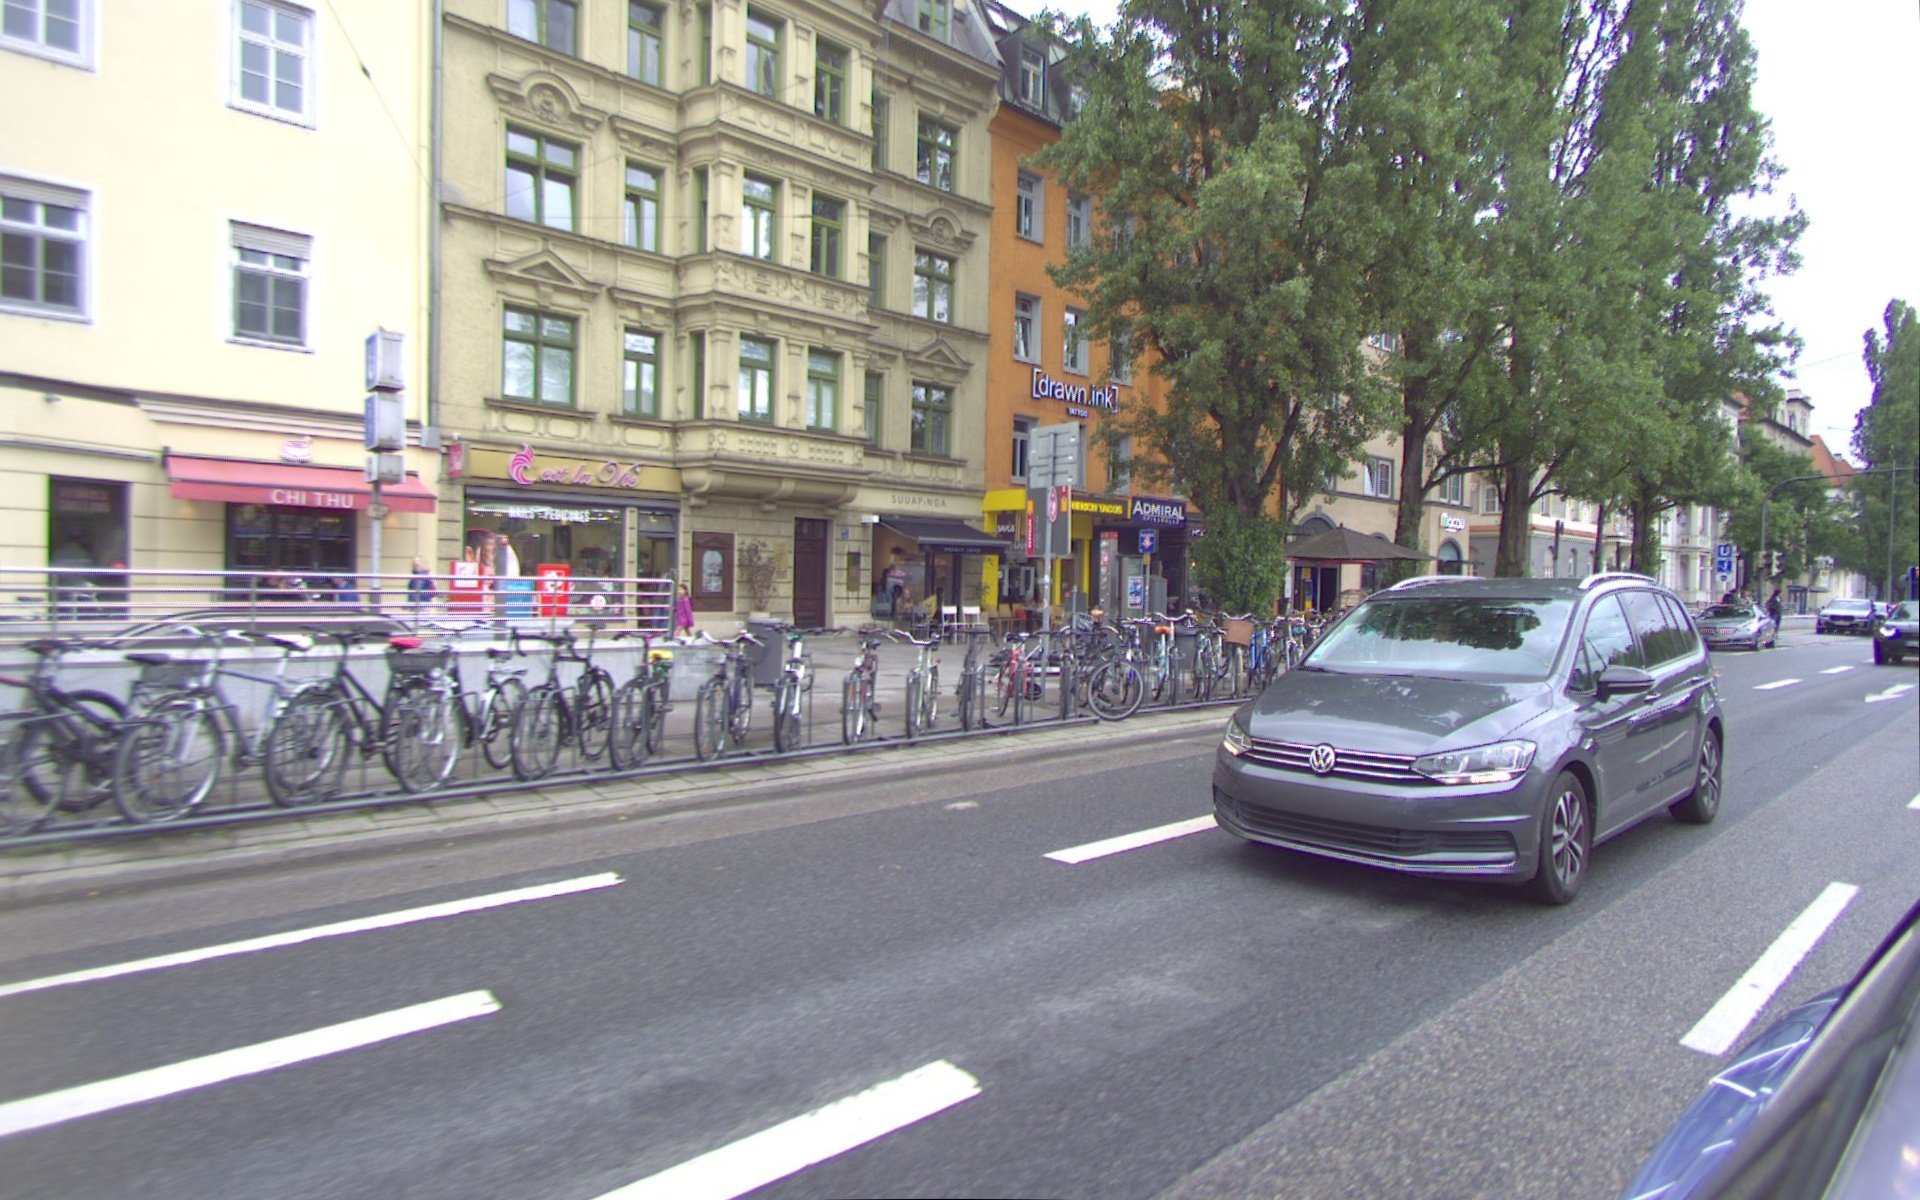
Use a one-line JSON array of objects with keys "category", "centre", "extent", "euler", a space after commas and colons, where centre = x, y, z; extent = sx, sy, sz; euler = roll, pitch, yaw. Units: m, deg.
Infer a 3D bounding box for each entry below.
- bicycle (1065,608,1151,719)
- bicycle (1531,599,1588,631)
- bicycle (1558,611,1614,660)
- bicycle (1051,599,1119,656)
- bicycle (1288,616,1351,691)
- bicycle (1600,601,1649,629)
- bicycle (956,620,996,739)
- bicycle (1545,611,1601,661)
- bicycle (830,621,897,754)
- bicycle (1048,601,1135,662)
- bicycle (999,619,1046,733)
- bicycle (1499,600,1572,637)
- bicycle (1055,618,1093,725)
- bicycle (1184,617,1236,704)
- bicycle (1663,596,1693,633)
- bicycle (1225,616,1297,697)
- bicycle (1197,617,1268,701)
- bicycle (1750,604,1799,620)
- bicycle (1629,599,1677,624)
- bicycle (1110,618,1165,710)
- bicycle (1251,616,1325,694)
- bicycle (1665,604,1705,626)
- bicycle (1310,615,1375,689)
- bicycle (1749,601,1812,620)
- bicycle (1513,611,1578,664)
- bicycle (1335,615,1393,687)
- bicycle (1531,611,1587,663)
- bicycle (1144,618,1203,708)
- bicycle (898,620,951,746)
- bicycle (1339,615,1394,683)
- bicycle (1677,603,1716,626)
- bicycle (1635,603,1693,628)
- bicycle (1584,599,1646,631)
[{"category": "bicycle", "centre": [1.695, 0.696, 11.851], "extent": [0.457, 1.126, 1.845], "euler": [2, 1, -8]}, {"category": "bicycle", "centre": [22.378, 0.539, 37.800], "extent": [0.439, 1.123, 1.802], "euler": [1, 0, -38]}, {"category": "bicycle", "centre": [13.585, 0.747, 22.002], "extent": [0.369, 1.008, 1.836], "euler": [1, 0, 10]}, {"category": "bicycle", "centre": [2.482, 0.531, 20.209], "extent": [0.379, 1.059, 1.730], "euler": [2, 0, -29]}, {"category": "bicycle", "centre": [5.265, 0.753, 14.903], "extent": [0.319, 1.008, 1.841], "euler": [1, 0, 2]}, {"category": "bicycle", "centre": [25.915, 0.580, 39.470], "extent": [0.385, 1.063, 1.575], "euler": [0, 0, -39]}, {"category": "bicycle", "centre": [0.142, 0.761, 10.427], "extent": [0.341, 1.008, 1.843], "euler": [1, 2, -1]}, {"category": "bicycle", "centre": [13.078, 0.748, 21.626], "extent": [0.369, 1.008, 1.836], "euler": [1, 0, 10]}, {"category": "bicycle", "centre": [-0.876, 0.761, 9.490], "extent": [0.341, 1.008, 1.841], "euler": [1, 2, 3]}, {"category": "bicycle", "centre": [2.441, 0.567, 18.956], "extent": [1.723, 1.059, 0.381], "euler": [1, -1, 44]}, {"category": "bicycle", "centre": [0.652, 0.760, 10.837], "extent": [0.341, 1.008, 1.843], "euler": [1, 2, -1]}, {"category": "bicycle", "centre": [17.643, 0.559, 31.072], "extent": [0.450, 1.067, 1.890], "euler": [0, 1, -42]}, {"category": "bicycle", "centre": [1.255, 0.748, 11.301], "extent": [0.319, 1.008, 1.841], "euler": [1, 2, 4]}, {"category": "bicycle", "centre": [3.217, 0.747, 13.128], "extent": [0.319, 1.008, 1.840], "euler": [1, 0, 4]}, {"category": "bicycle", "centre": [25.845, 0.508, 36.432], "extent": [1.747, 1.304, 0.424], "euler": [0, 1, -40]}, {"category": "bicycle", "centre": [4.168, 0.752, 14.117], "extent": [0.319, 1.008, 1.843], "euler": [2, 0, -4]}, {"category": "bicycle", "centre": [3.625, 0.752, 13.588], "extent": [0.319, 1.008, 1.843], "euler": [2, 0, -4]}, {"category": "bicycle", "centre": [51.111, 0.749, 63.544], "extent": [0.629, 0.933, 2.319], "euler": [0, 0, -43]}, {"category": "bicycle", "centre": [33.234, 0.570, 48.546], "extent": [1.855, 1.169, 0.464], "euler": [0, 0, 8]}, {"category": "bicycle", "centre": [2.161, 0.749, 12.448], "extent": [0.319, 1.008, 1.842], "euler": [1, 0, -1]}, {"category": "bicycle", "centre": [4.656, 0.751, 14.456], "extent": [0.319, 1.008, 1.843], "euler": [2, 0, -4]}, {"category": "bicycle", "centre": [33.774, 0.694, 47.141], "extent": [1.801, 0.990, 0.393], "euler": [0, 0, -14]}, {"category": "bicycle", "centre": [5.762, 0.752, 15.308], "extent": [0.319, 1.008, 1.841], "euler": [1, 0, 2]}, {"category": "bicycle", "centre": [50.014, 0.632, 61.731], "extent": [2.899, 1.163, 0.633], "euler": [0, 0, 33]}, {"category": "bicycle", "centre": [11.965, 0.749, 20.724], "extent": [0.368, 1.008, 1.840], "euler": [1, 0, 4]}, {"category": "bicycle", "centre": [6.161, 0.751, 15.508], "extent": [0.319, 1.008, 1.839], "euler": [1, 0, 6]}, {"category": "bicycle", "centre": [12.497, 0.749, 21.152], "extent": [0.369, 1.008, 1.836], "euler": [1, 0, 10]}, {"category": "bicycle", "centre": [2.661, 0.748, 12.731], "extent": [0.319, 1.008, 1.842], "euler": [1, 0, -1]}, {"category": "bicycle", "centre": [-0.325, 0.761, 9.930], "extent": [0.341, 1.008, 1.841], "euler": [1, 2, 3]}, {"category": "bicycle", "centre": [6.478, 0.752, 16.175], "extent": [0.319, 1.008, 1.838], "euler": [1, 0, 7]}, {"category": "bicycle", "centre": [34.029, 0.684, 46.767], "extent": [1.801, 1.036, 0.393], "euler": [0, 0, -14]}, {"category": "bicycle", "centre": [27.903, 0.605, 40.137], "extent": [0.385, 0.928, 1.838], "euler": [0, 1, -38]}, {"category": "bicycle", "centre": [23.549, 0.527, 36.406], "extent": [0.439, 1.124, 1.801], "euler": [1, -1, -38]}]
